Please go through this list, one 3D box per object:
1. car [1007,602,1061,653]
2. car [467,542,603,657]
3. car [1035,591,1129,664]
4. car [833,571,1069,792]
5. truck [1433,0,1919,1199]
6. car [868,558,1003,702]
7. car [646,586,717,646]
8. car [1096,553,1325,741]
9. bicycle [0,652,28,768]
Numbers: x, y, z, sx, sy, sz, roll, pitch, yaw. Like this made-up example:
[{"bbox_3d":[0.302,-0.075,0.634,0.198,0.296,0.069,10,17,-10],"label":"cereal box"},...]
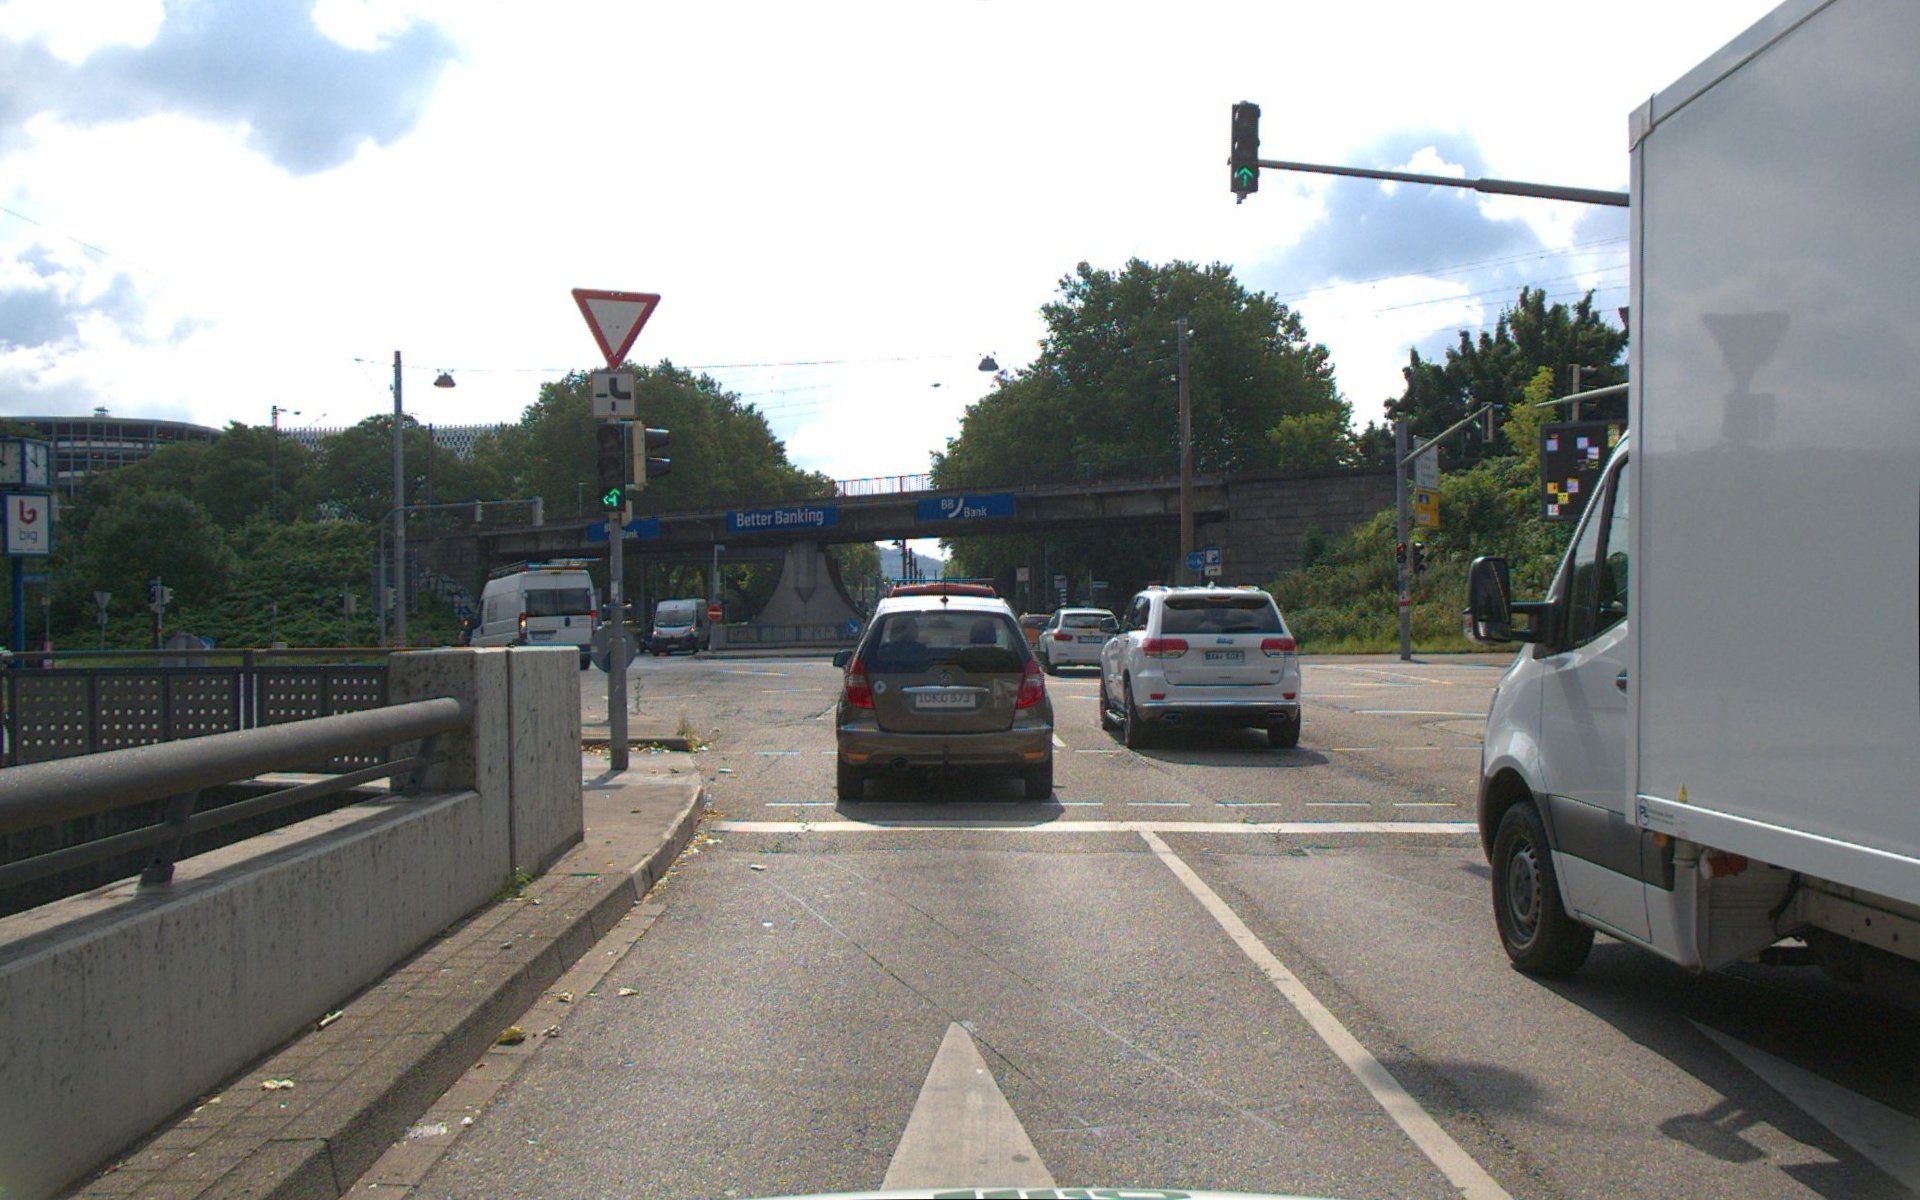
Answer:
[{"bbox_3d":[2.315,0.835,52.459,1.513,1.548,3.616,0,0,-1],"label":"car"},{"bbox_3d":[-11.049,0.003,42.786,2.175,2.774,4.880,0,0,-30],"label":"car"},{"bbox_3d":[2.708,0.593,37.336,1.814,1.548,3.616,0,0,-1],"label":"car"},{"bbox_3d":[-0.081,0.611,14.235,1.755,1.637,3.798,0,0,-1],"label":"car"},{"bbox_3d":[3.335,-0.105,4.393,2.397,3.176,6.028,-1,0,0],"label":"truck"},{"bbox_3d":[-0.374,0.392,25.855,1.916,2.052,4.676,0,1,-1],"label":"car"},{"bbox_3d":[-12.771,0.679,76.320,2.212,2.570,5.627,-1,1,0],"label":"car"},{"bbox_3d":[2.776,0.480,19.358,1.954,1.934,4.508,0,0,-1],"label":"car"},{"bbox_3d":[-10.243,1.089,15.805,2.134,1.105,0.885,-2,-3,-8],"label":"bicycle"}]
